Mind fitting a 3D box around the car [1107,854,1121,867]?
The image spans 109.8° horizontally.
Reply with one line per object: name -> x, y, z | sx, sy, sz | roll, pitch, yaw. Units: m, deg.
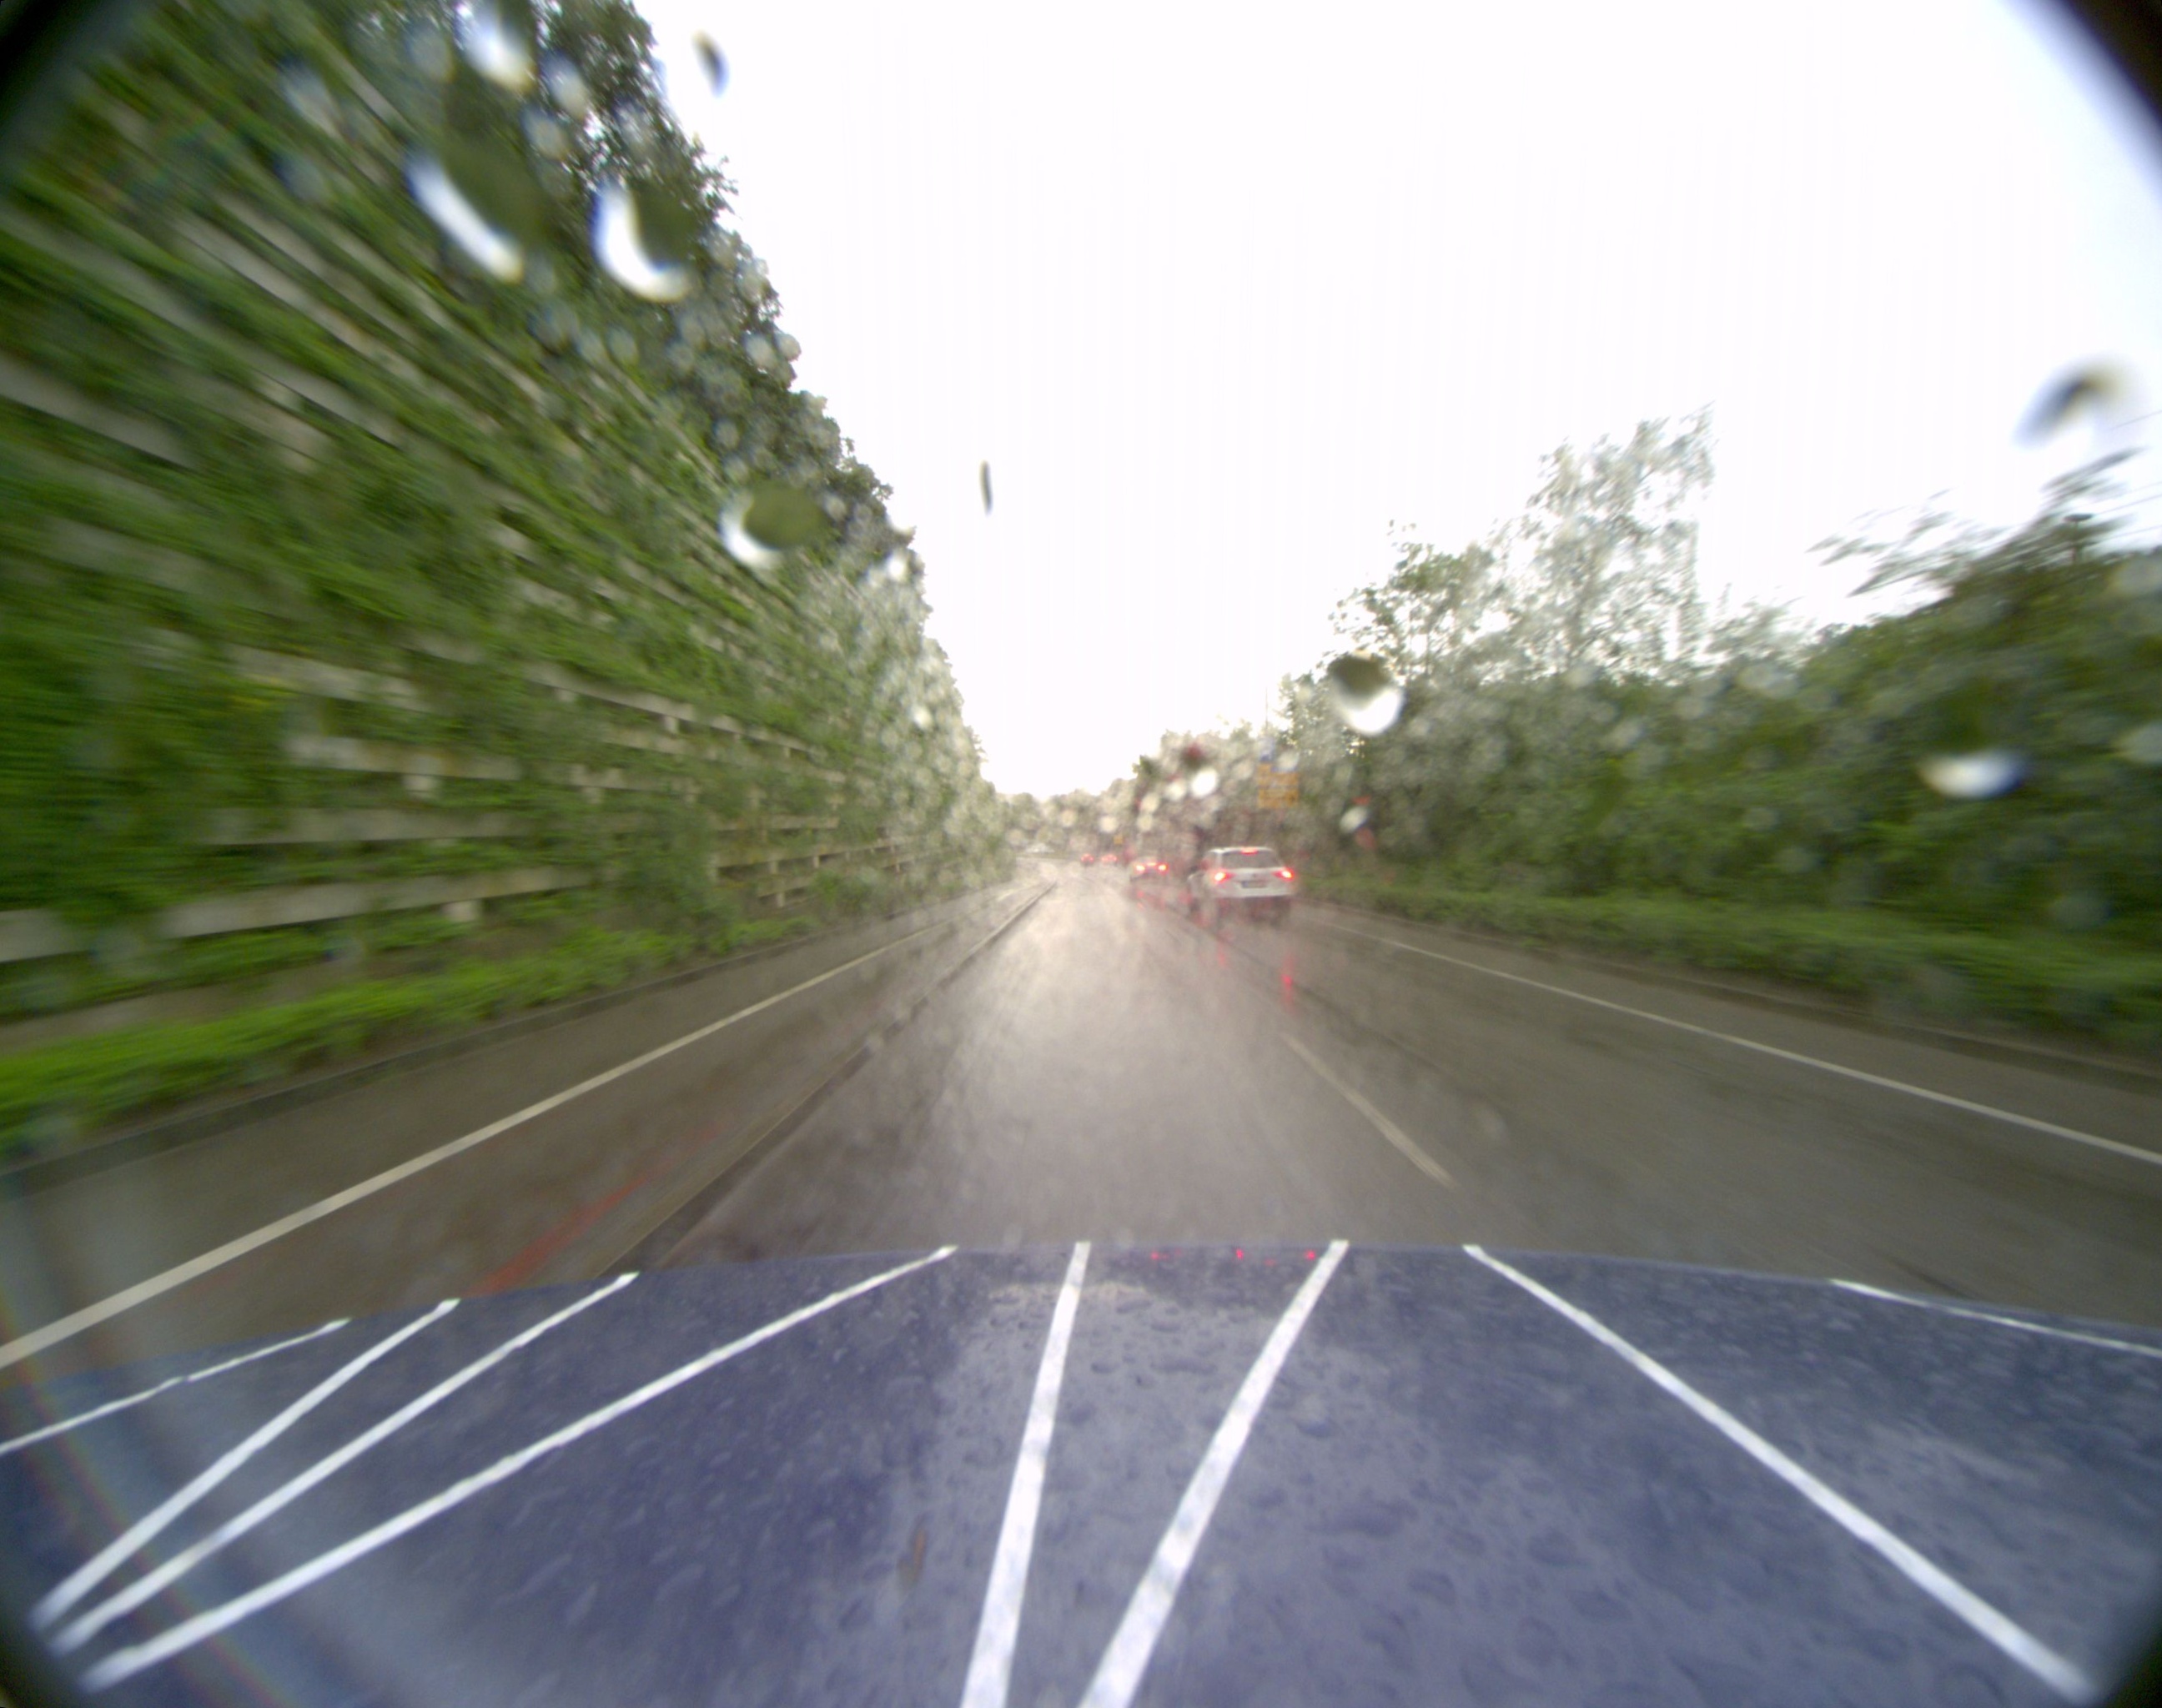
car -> 4.894, 0.928, 112.044 | 1.818, 1.648, 4.050 | 2, 3, 6

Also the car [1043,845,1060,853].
car -> -6.572, -1.114, 169.948 | 3.823, 1.559, 1.773 | 2, 2, -5

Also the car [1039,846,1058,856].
car -> -7.458, -0.681, 172.365 | 4.234, 1.969, 1.903 | 2, 2, -5

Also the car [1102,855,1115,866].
car -> 4.271, 1.002, 119.234 | 1.998, 1.494, 4.728 | 2, 1, 1

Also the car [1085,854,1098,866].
car -> 1.508, 0.883, 108.297 | 1.736, 1.609, 4.000 | -1, 1, 4

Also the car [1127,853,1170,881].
car -> 3.604, 0.677, 41.221 | 1.870, 1.440, 4.377 | -1, 0, -1

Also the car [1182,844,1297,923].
car -> 3.617, 0.620, 18.080 | 1.827, 1.605, 4.093 | -2, 0, 0
